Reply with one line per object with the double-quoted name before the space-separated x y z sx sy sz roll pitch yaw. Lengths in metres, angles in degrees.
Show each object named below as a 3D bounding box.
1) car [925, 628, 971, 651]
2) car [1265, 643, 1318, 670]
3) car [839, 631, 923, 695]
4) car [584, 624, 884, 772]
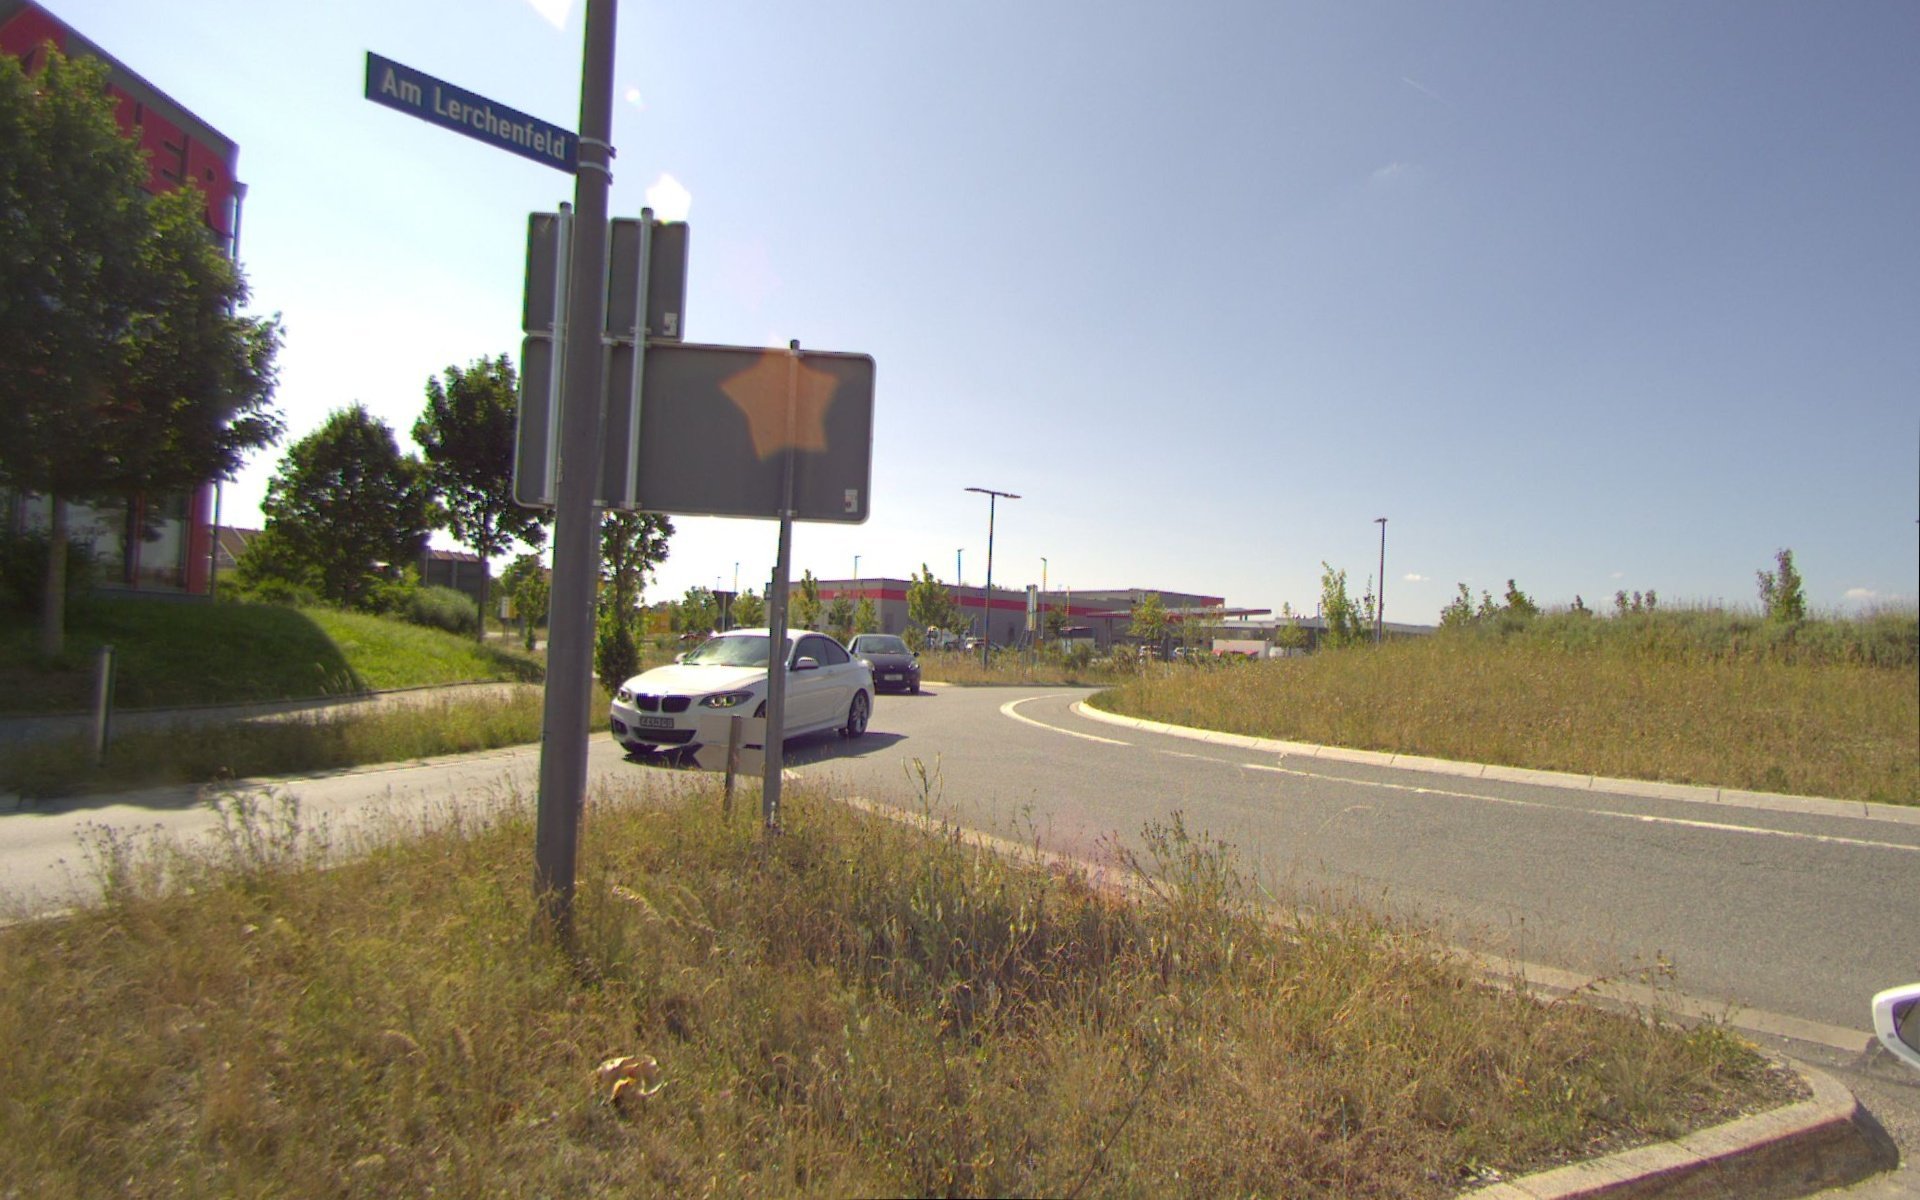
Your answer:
"car" -1.124 3.739 94.700 3.972 2.040 1.975 4 -3 -43
"car" 27.791 4.743 84.135 5.099 2.040 1.975 5 -3 -42
"car" -2.114 1.602 26.035 1.616 1.507 3.896 2 -3 -13
"car" -2.533 1.061 12.493 1.761 1.434 4.384 2 -1 15
